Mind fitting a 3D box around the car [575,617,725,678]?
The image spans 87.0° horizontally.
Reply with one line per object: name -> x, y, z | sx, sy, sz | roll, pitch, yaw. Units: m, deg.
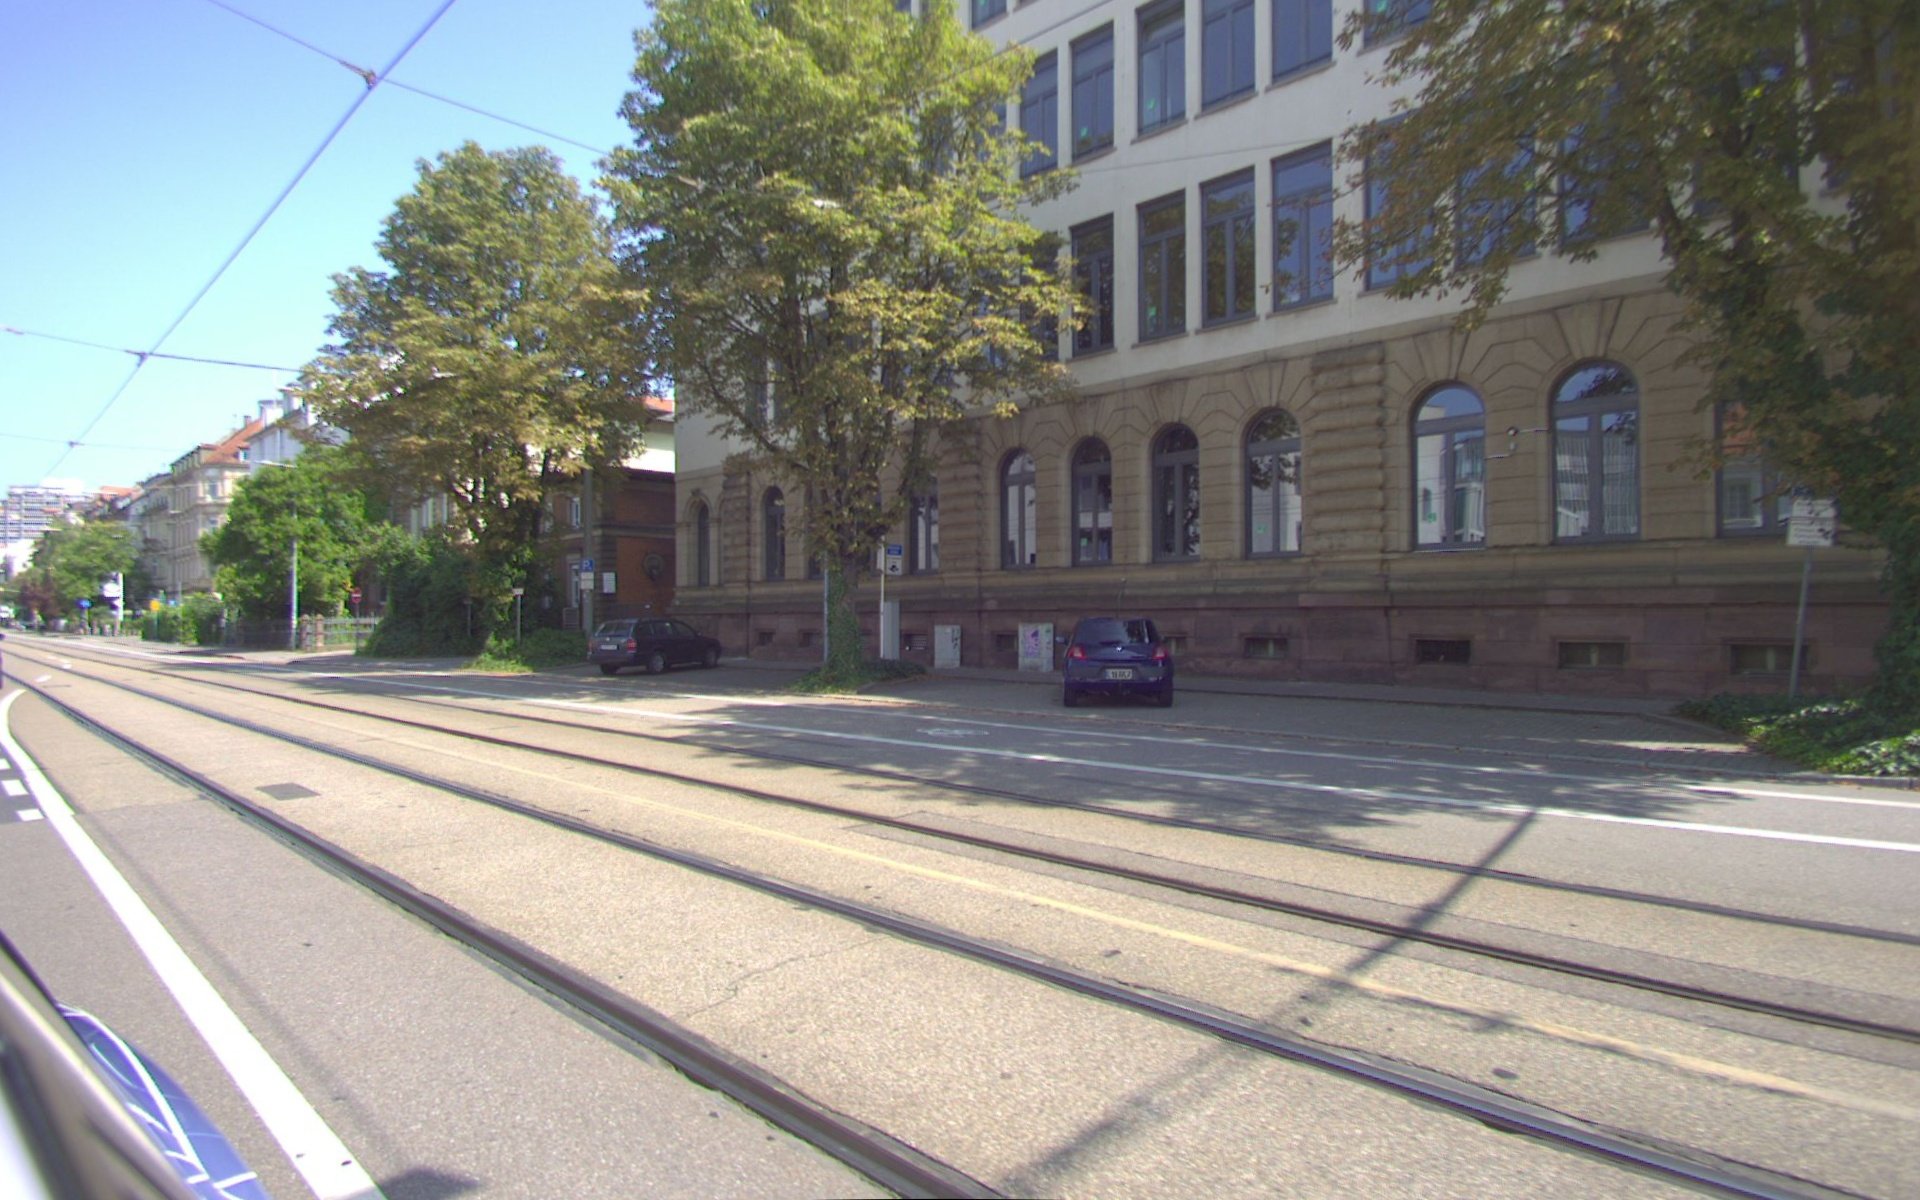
car -> -8.313, 1.226, 27.572 | 1.805, 1.473, 4.405 | -1, -1, 17

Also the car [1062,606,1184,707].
car -> 2.662, 0.878, 17.264 | 1.799, 1.507, 4.155 | 0, -1, 6

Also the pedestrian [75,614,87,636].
pedestrian -> -83.539, 2.392, 96.191 | 0.974, 2.029, 0.648 | -1, -2, 42
